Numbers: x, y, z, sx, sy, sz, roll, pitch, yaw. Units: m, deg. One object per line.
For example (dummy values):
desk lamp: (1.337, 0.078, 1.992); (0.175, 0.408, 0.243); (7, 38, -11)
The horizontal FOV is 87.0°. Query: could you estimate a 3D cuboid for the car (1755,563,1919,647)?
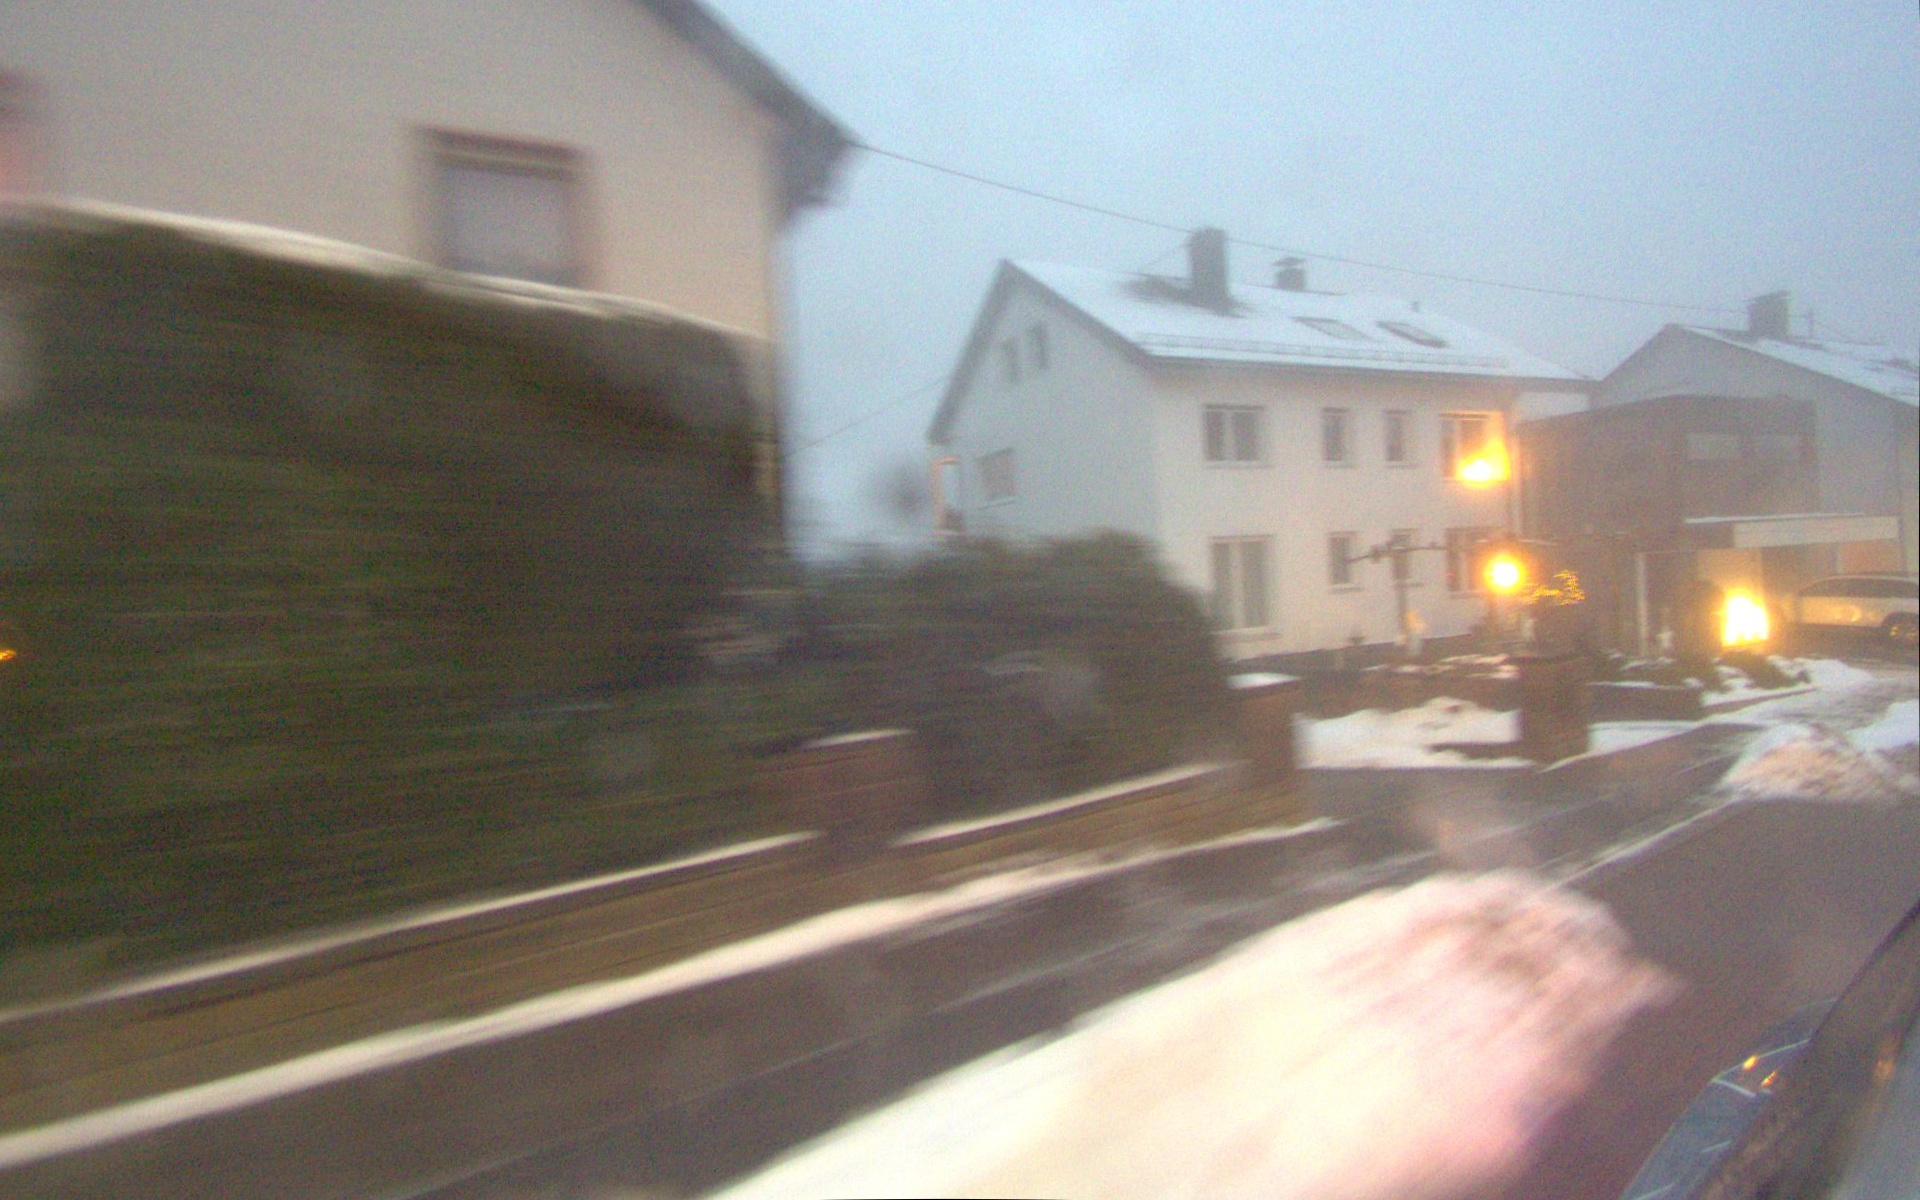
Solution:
car: (22.037, 0.074, 24.332); (1.872, 1.881, 4.227); (-1, 1, -24)
